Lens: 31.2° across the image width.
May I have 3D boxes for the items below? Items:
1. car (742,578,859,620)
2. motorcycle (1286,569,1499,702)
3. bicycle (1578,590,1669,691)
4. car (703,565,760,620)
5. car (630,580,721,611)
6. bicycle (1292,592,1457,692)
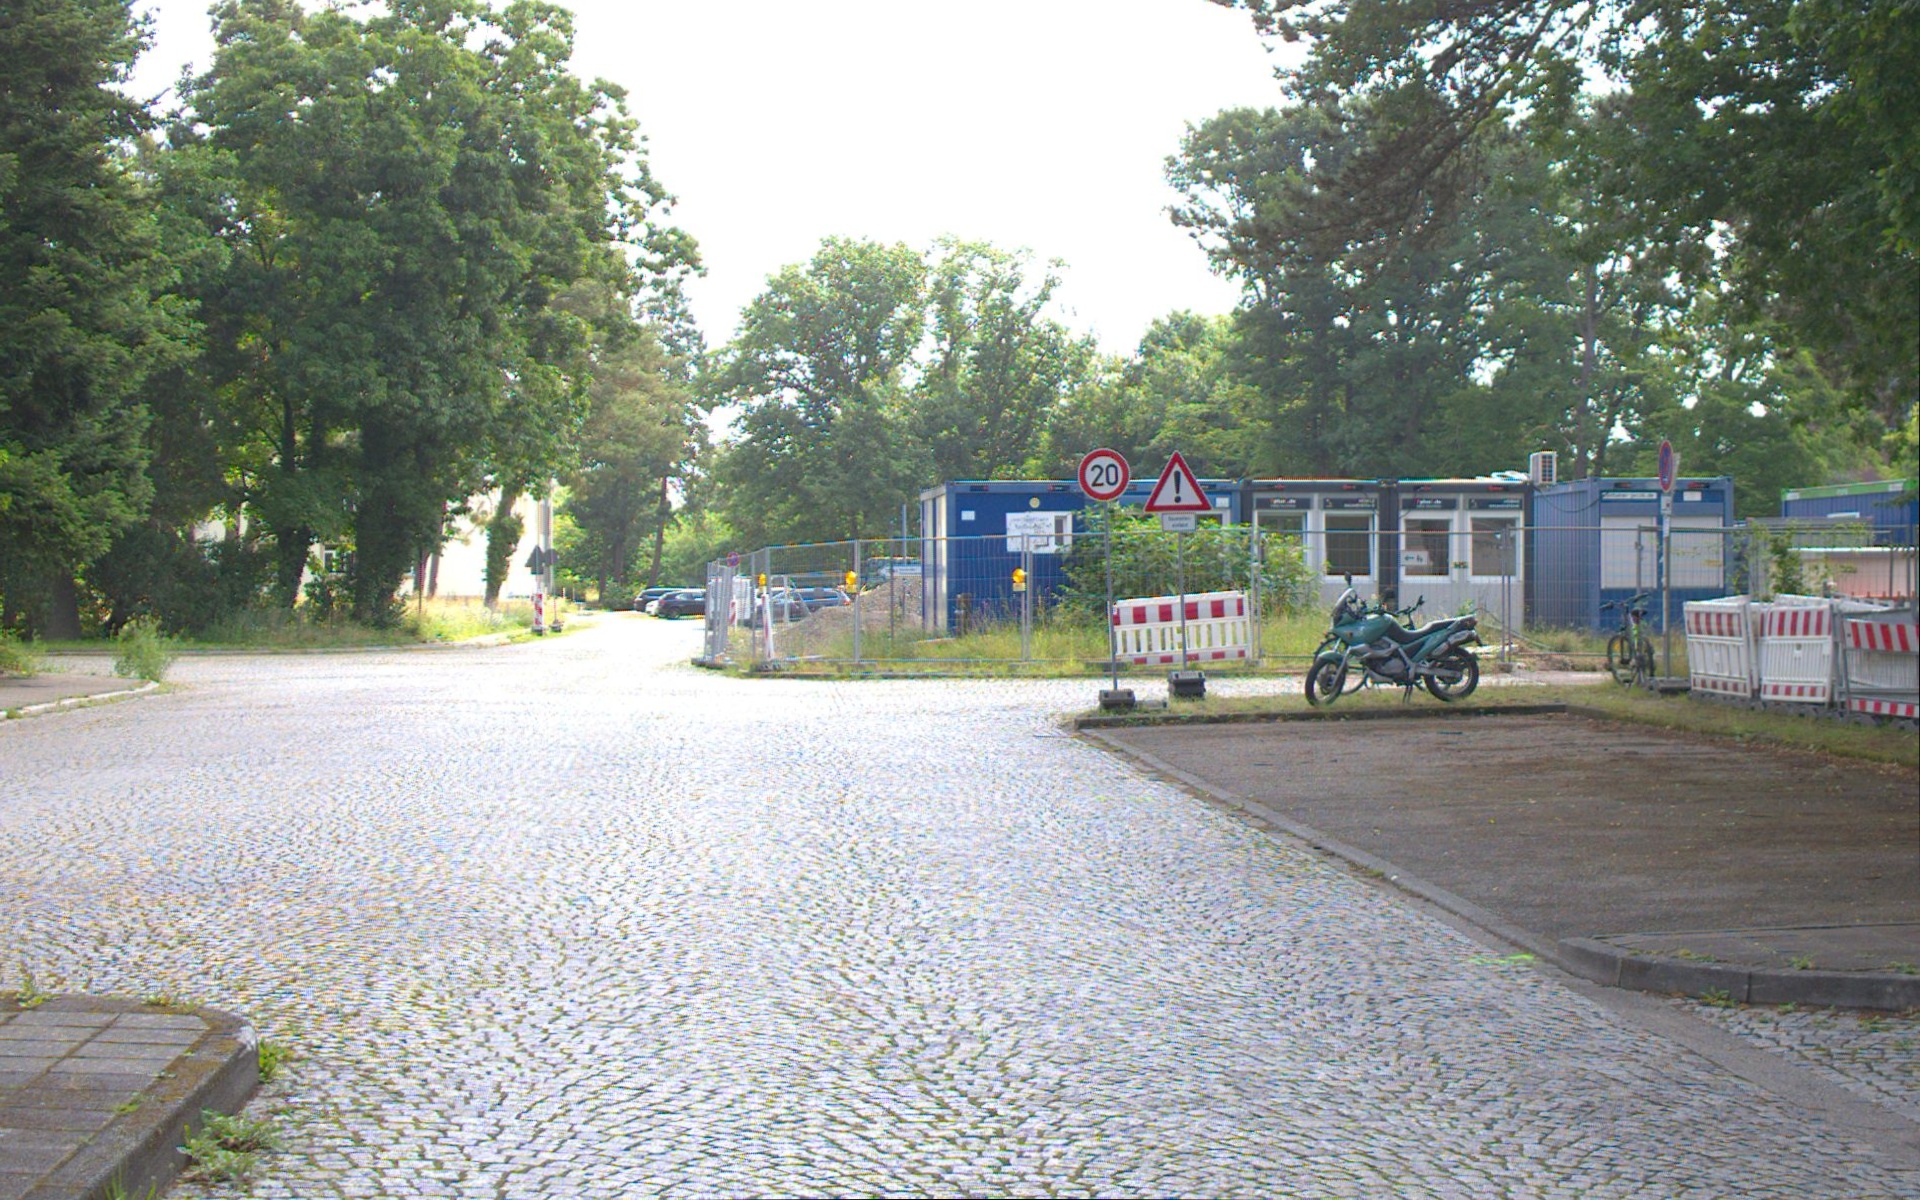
[{"bbox_3d":[-6.273,-0.044,135.507,4.403,1.505,2.000,1,0,4],"label":"car"},{"bbox_3d":[4.924,0.395,39.169,2.276,1.480,0.757,0,0,-9],"label":"motorcycle"},{"bbox_3d":[7.881,0.468,40.911,0.642,1.165,1.905,0,0,-2],"label":"bicycle"},{"bbox_3d":[-8.640,-0.268,129.642,1.993,2.007,4.092,1,0,-5],"label":"car"},{"bbox_3d":[-15.439,-0.260,186.342,4.778,1.635,2.000,1,0,-9],"label":"car"},{"bbox_3d":[5.026,0.508,41.658,1.900,1.193,0.655,0,0,16],"label":"bicycle"}]
